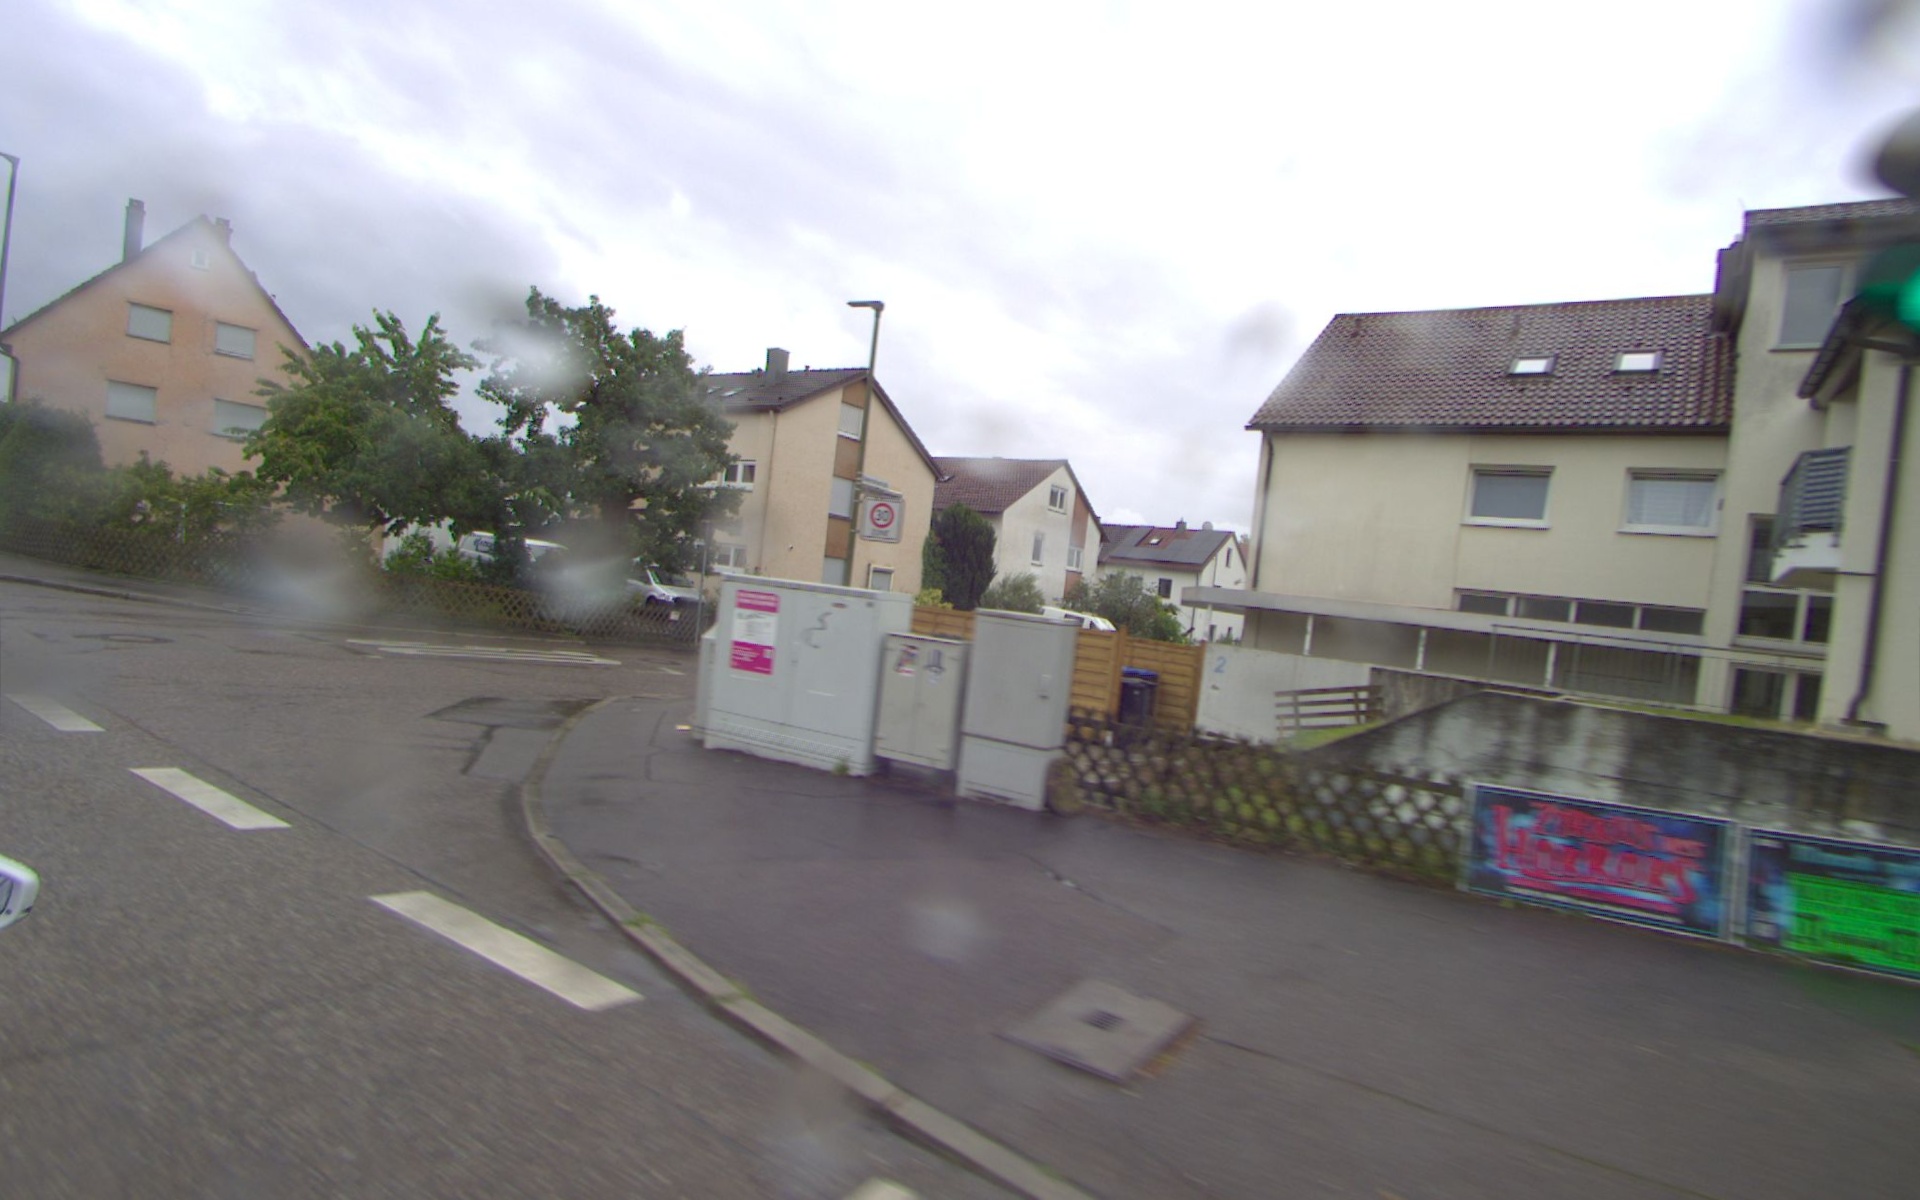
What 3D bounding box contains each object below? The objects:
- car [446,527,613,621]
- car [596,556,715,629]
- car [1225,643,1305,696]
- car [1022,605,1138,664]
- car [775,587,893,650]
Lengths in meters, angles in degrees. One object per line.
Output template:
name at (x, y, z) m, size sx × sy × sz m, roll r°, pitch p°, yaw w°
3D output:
car at (-12.897, -0.803, 30.044) m, size 5.102 × 2.108 × 1.947 m, roll 8°, pitch 0°, yaw 34°
car at (-9.749, -0.256, 32.130) m, size 3.584 × 1.840 × 1.656 m, roll 7°, pitch -1°, yaw 36°
car at (13.034, 2.971, 42.842) m, size 1.815 × 1.929 × 4.610 m, roll 7°, pitch 0°, yaw 34°
car at (5.535, 1.582, 46.635) m, size 4.756 × 2.077 × 1.948 m, roll 7°, pitch -1°, yaw 32°
car at (-3.978, 0.606, 32.407) m, size 1.859 × 1.692 × 3.996 m, roll 7°, pitch 1°, yaw 23°
